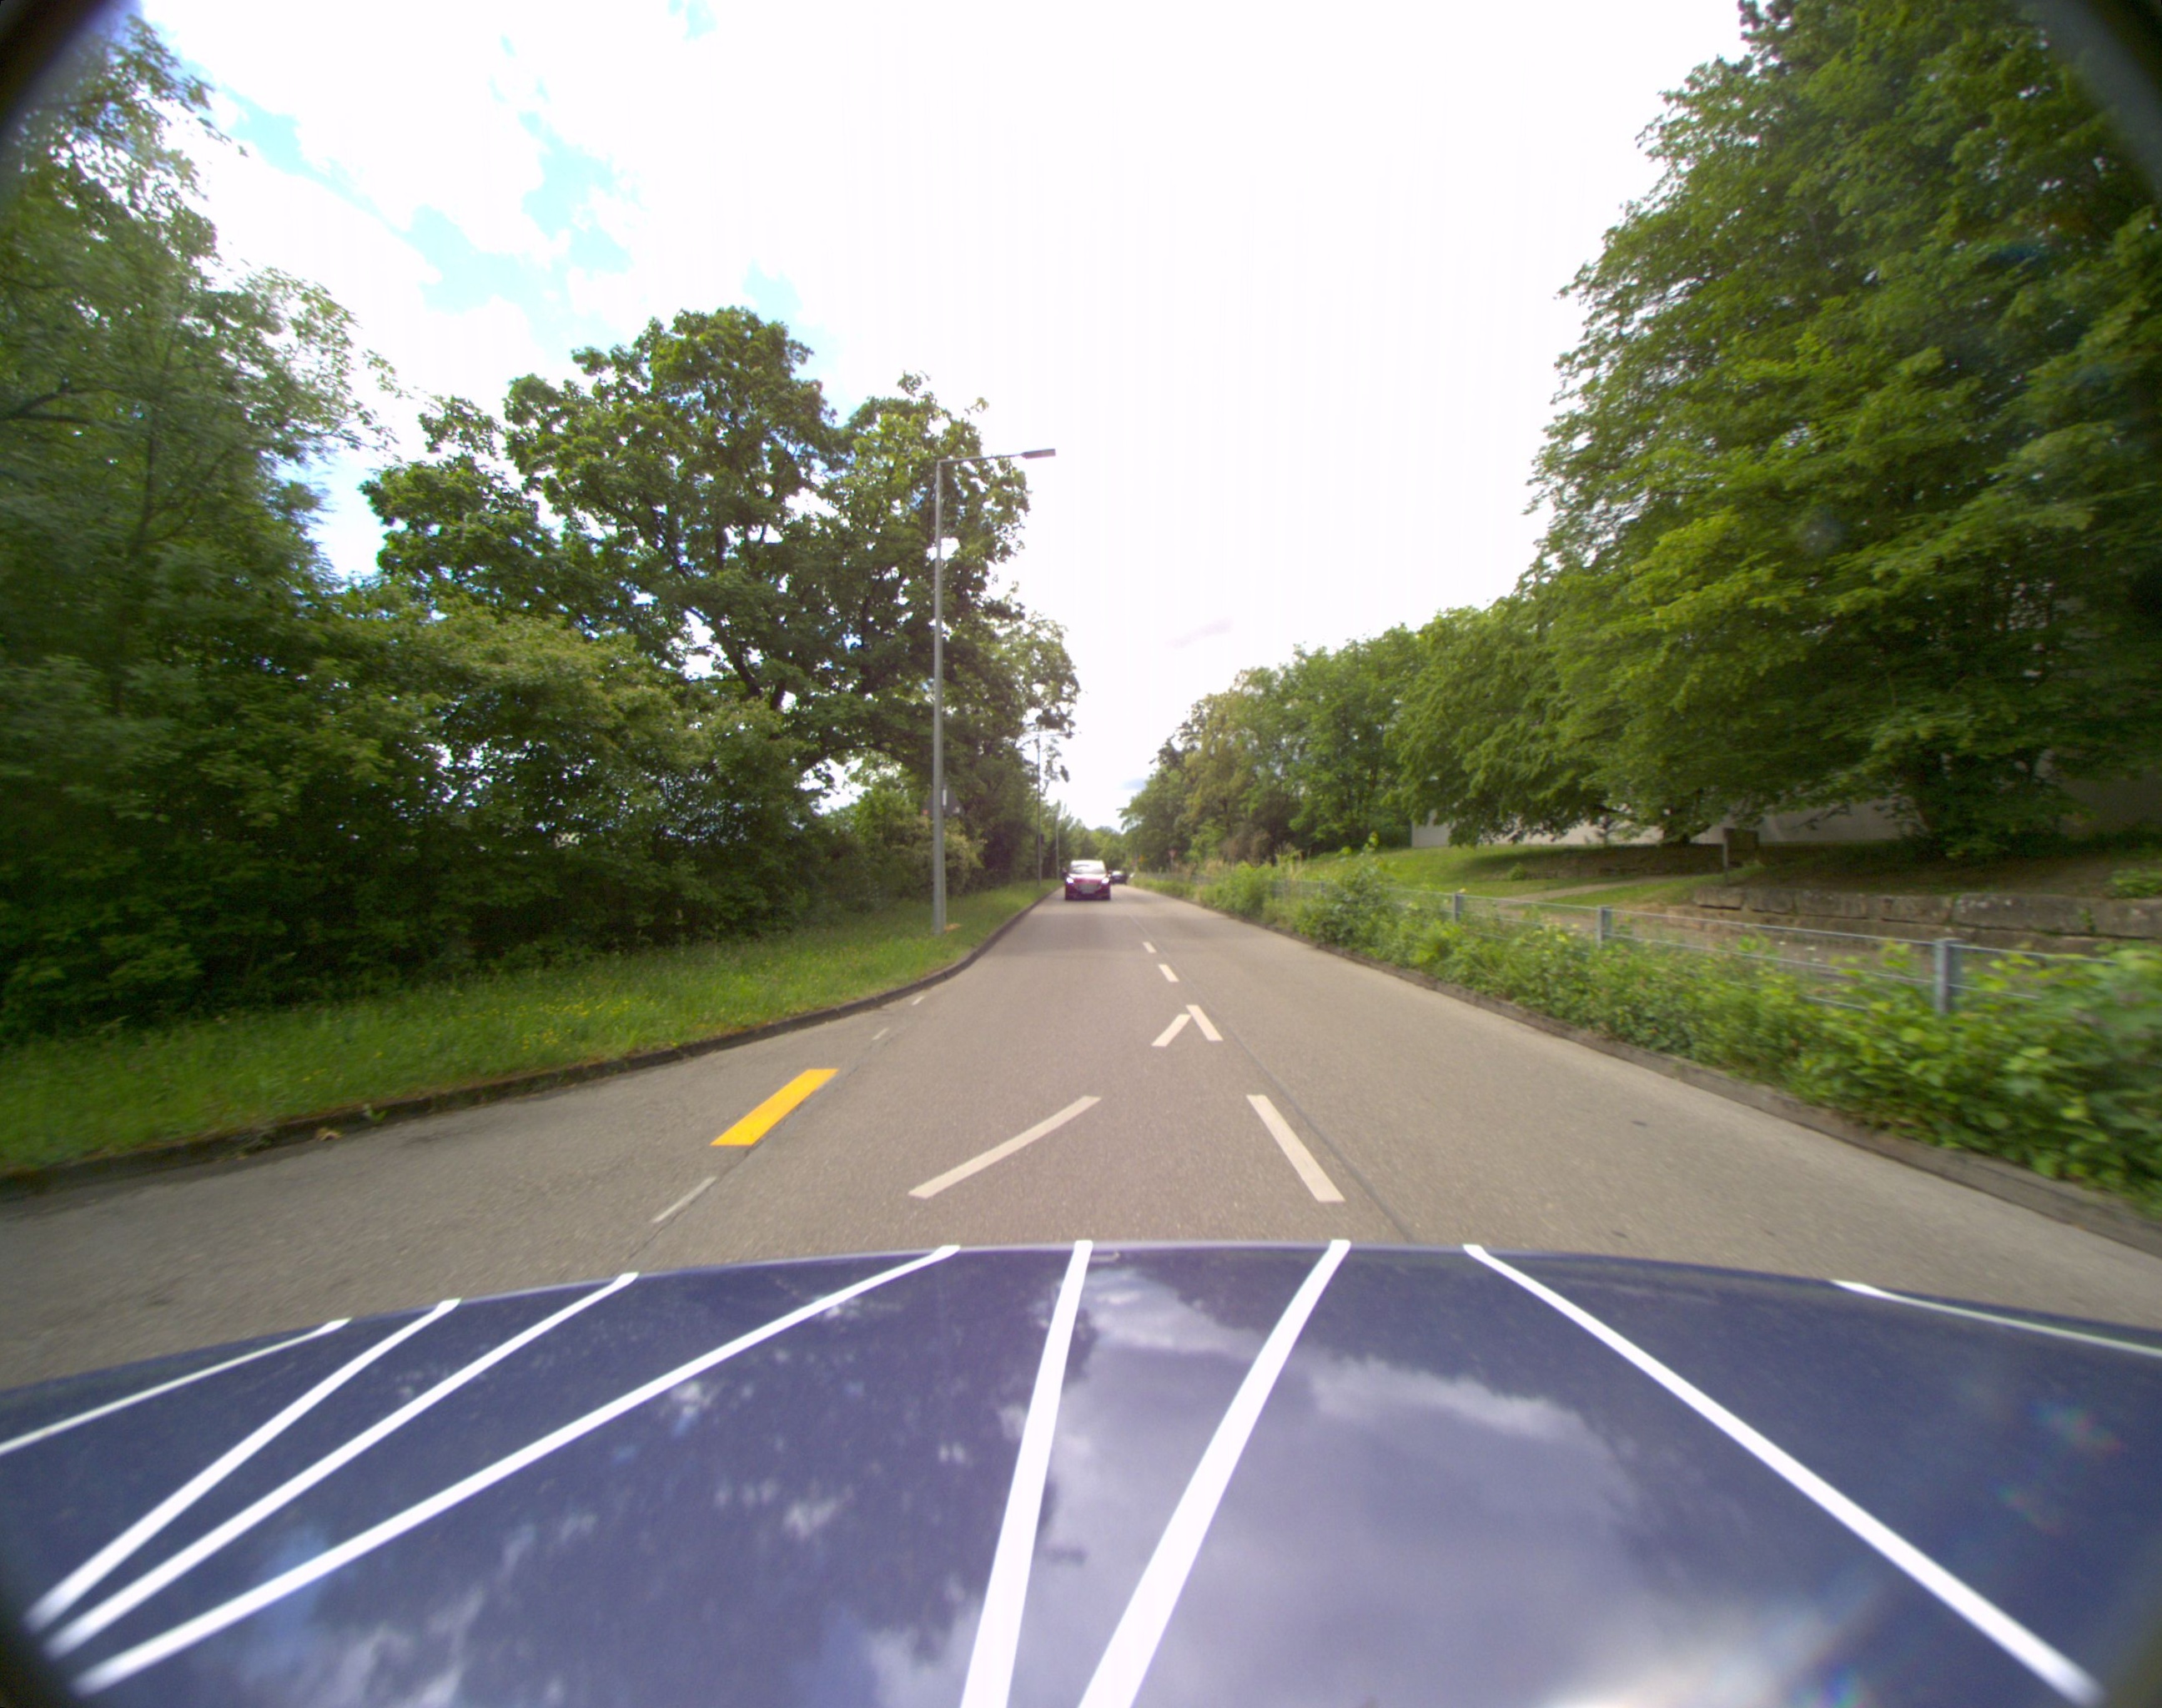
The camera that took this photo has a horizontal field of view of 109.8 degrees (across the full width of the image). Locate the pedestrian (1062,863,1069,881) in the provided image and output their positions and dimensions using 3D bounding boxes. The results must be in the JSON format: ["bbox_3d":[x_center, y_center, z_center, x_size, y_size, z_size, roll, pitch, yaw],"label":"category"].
[{"bbox_3d":[-1.567,1.829,76.945,0.675,1.825,0.606,0,0,-3],"label":"pedestrian"}]

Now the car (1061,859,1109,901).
[{"bbox_3d":[0.213,1.051,32.308,1.861,1.608,4.476,-2,0,1],"label":"car"}]

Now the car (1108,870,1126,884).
[{"bbox_3d":[3.429,2.204,73.001,1.620,1.324,4.001,0,-1,1],"label":"car"}]

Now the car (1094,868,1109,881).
[{"bbox_3d":[2.534,2.488,94.391,1.801,1.434,4.000,0,1,2],"label":"car"}]
